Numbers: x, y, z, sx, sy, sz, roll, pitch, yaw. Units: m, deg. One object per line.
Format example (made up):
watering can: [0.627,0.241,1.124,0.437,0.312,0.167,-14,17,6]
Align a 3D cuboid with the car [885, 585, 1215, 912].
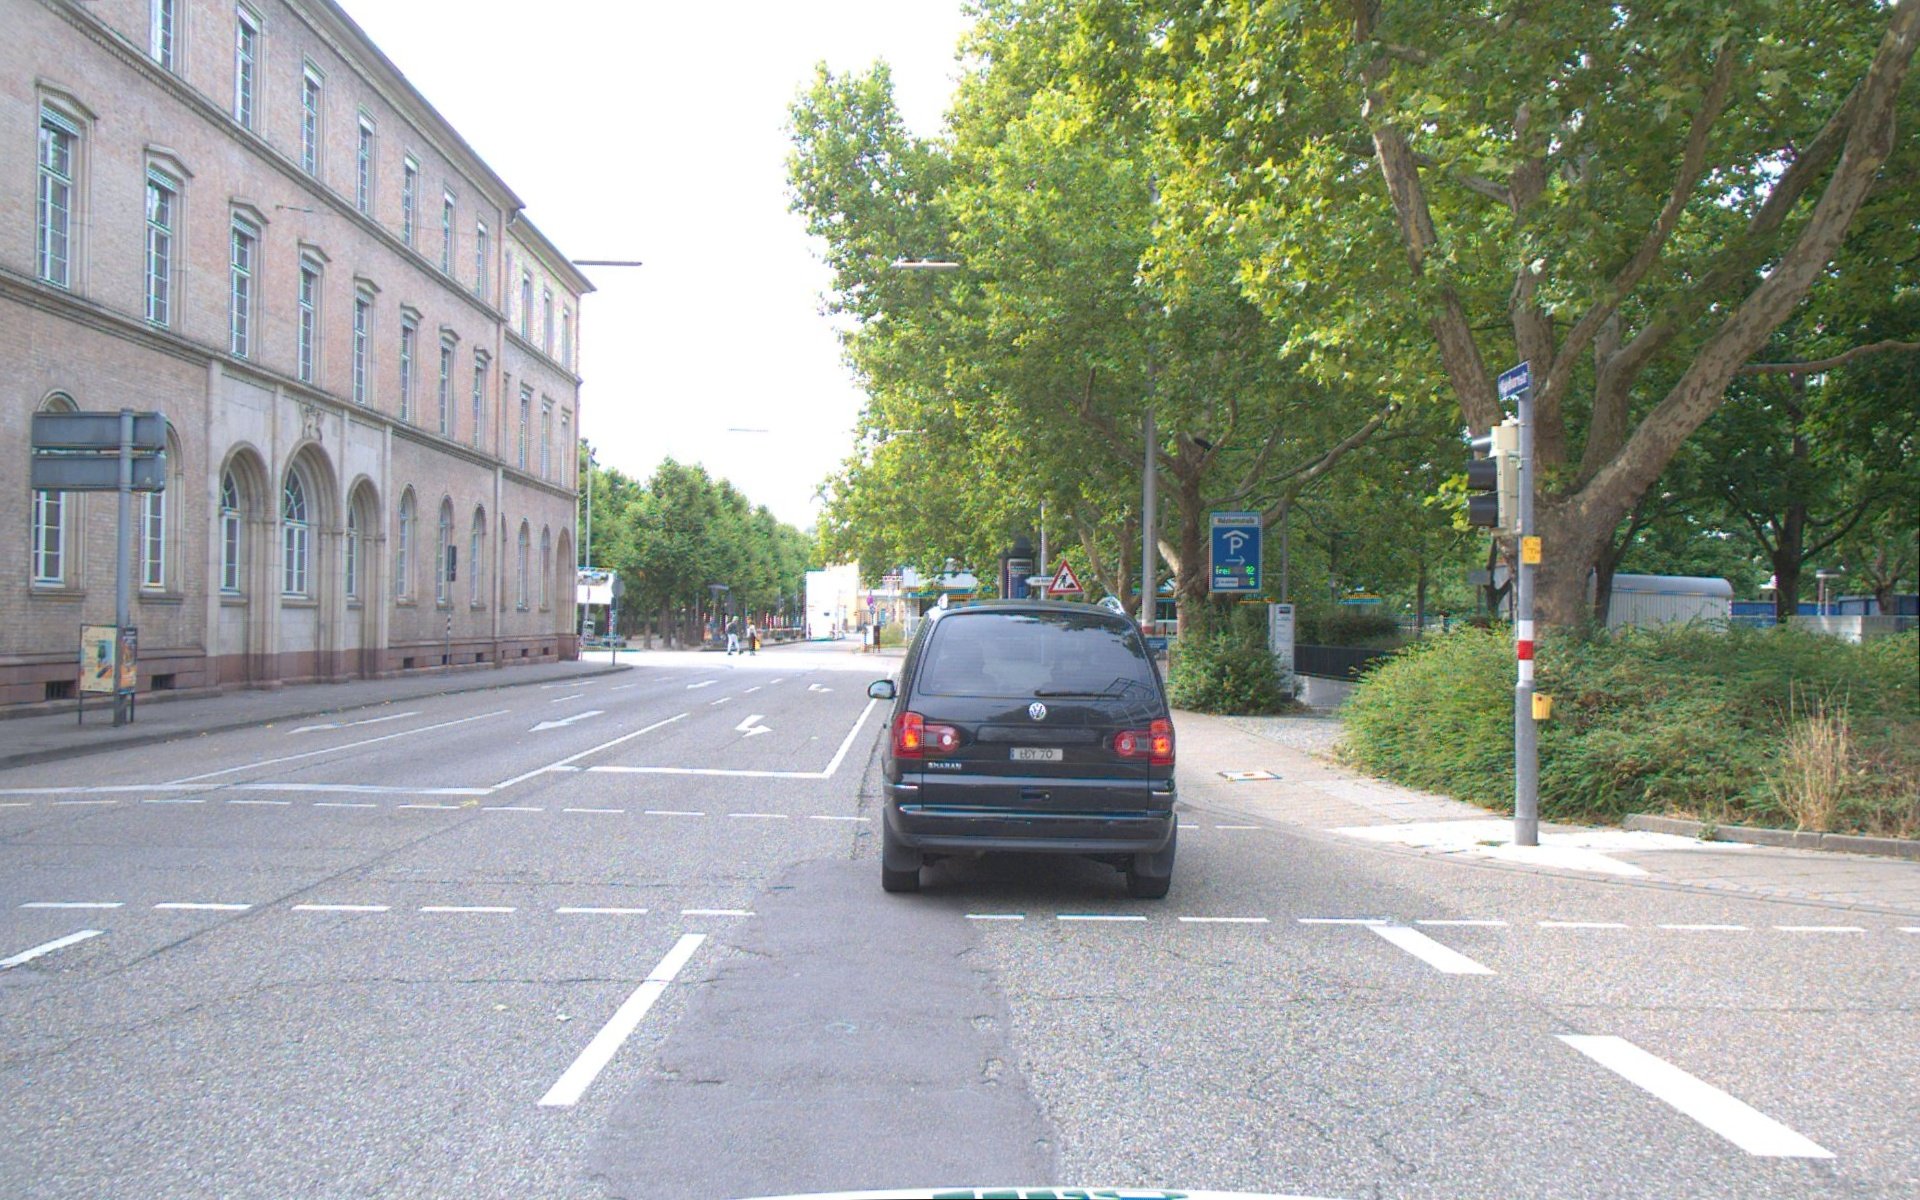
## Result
car: [0.424,0.820,10.910,1.757,1.738,4.129,0,-1,-2]

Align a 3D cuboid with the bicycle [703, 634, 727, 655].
bicycle: [-14.119,2.562,95.214,0.937,1.129,2.566,3,-1,-18]

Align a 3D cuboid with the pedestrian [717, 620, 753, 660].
pedestrian: [-10.180,1.813,74.741,0.944,1.772,1.250,1,-1,37]

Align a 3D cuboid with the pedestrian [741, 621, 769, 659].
pedestrian: [-9.209,1.804,74.320,0.880,1.670,0.849,2,-1,34]
